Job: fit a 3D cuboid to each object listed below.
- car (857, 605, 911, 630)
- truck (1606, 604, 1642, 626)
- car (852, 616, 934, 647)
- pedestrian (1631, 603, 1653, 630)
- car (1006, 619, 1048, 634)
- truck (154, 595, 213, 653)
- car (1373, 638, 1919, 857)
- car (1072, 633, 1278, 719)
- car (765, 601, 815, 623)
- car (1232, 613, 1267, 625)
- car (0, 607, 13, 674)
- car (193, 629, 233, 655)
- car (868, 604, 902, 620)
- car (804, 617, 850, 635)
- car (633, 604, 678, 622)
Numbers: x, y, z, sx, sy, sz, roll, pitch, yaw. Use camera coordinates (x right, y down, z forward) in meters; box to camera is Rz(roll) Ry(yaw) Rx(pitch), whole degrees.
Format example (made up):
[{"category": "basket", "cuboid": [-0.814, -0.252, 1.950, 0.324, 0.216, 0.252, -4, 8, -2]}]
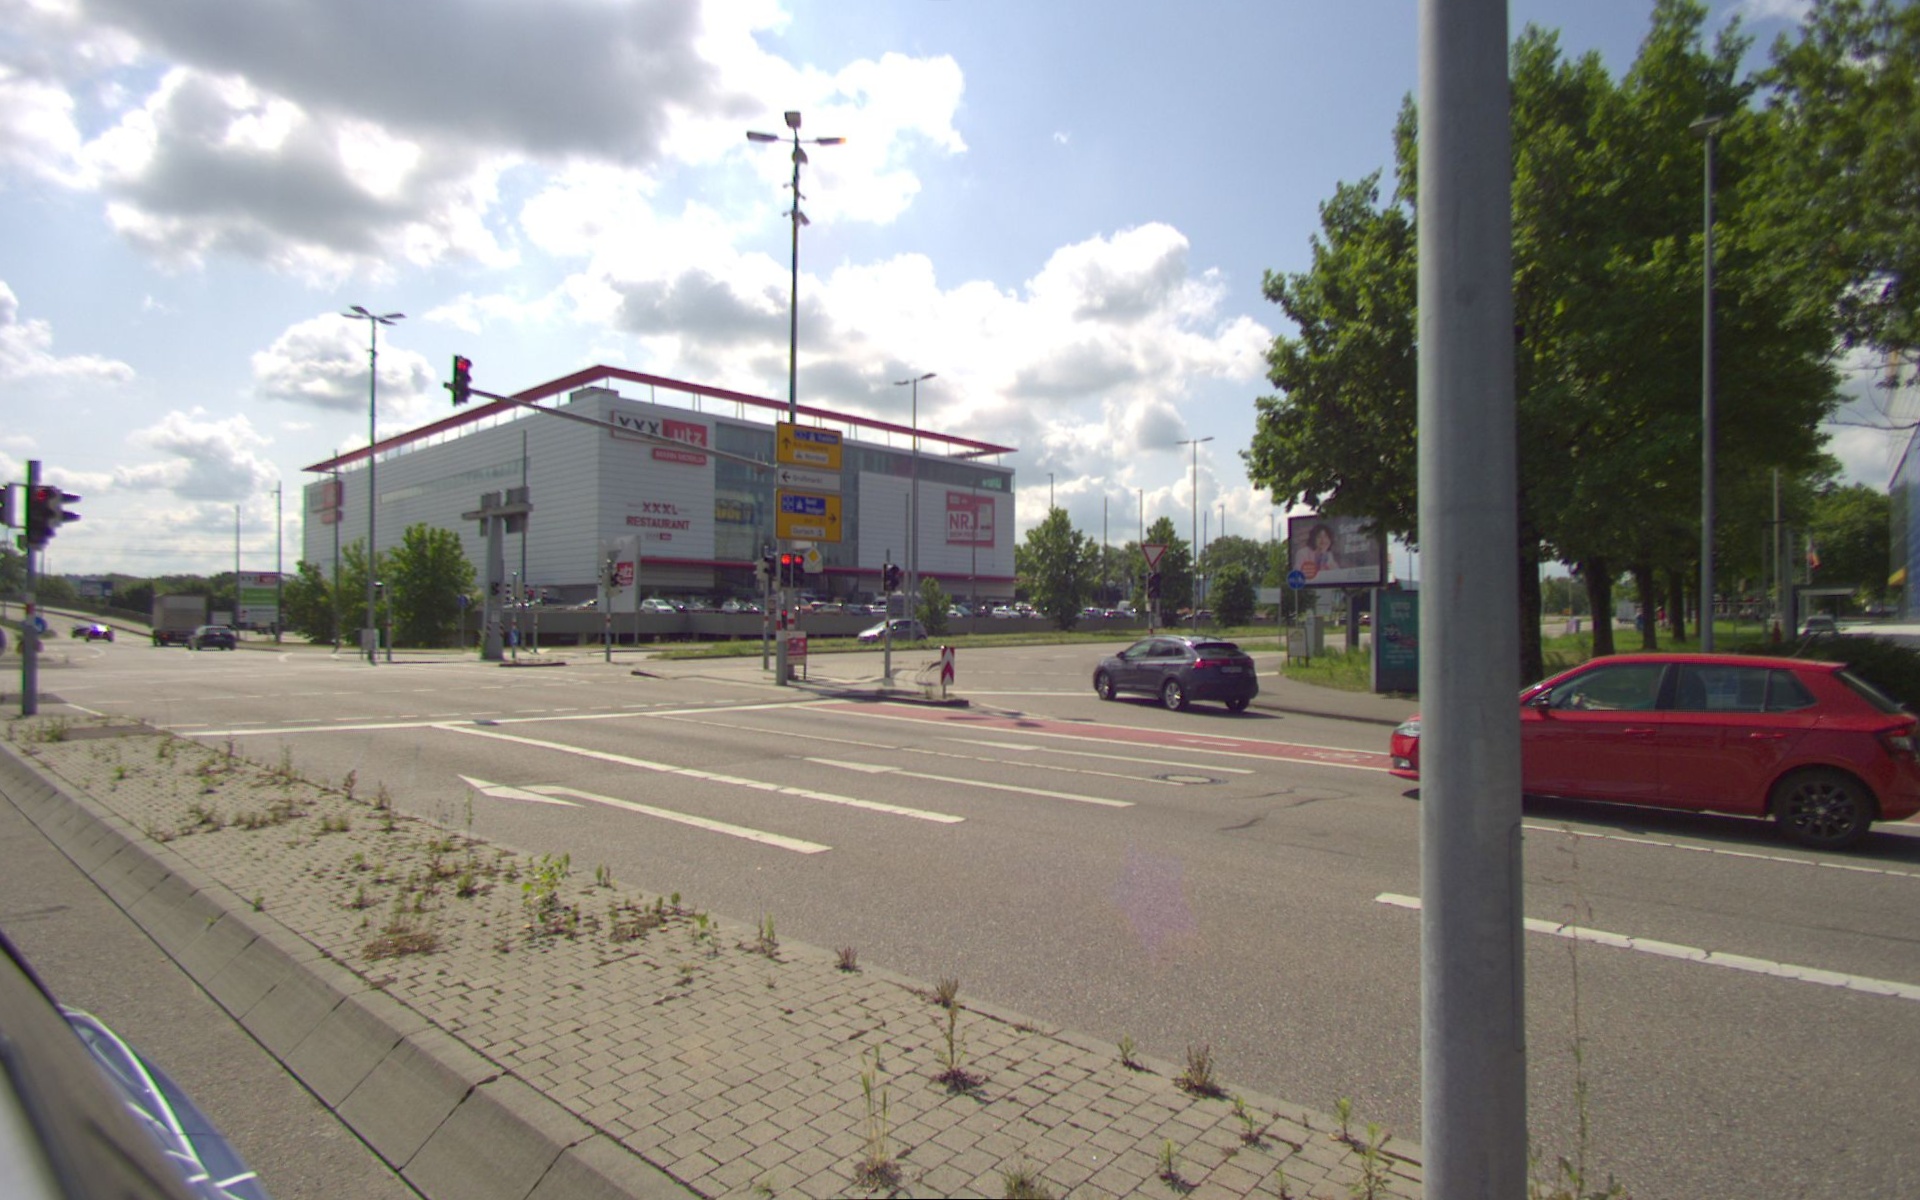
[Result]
[{"category": "car", "cuboid": [-7.490, 1.724, 99.382, 5.797, 2.300, 1.725, -3, -2, 42]}, {"category": "truck", "cuboid": [86.626, 1.959, 132.033, 2.974, 2.773, 5.703, -3, -2, 42]}, {"category": "car", "cuboid": [-3.404, 1.622, 52.040, 1.608, 1.542, 4.208, -2, -2, 44]}, {"category": "pedestrian", "cuboid": [44.477, 1.064, 65.993, 1.147, 1.741, 0.855, 0, -2, -43]}, {"category": "car", "cuboid": [7.454, 2.997, 112.765, 4.424, 1.618, 1.926, -3, -2, 44]}, {"category": "truck", "cuboid": [-58.201, 1.881, 75.738, 3.172, 4.058, 9.085, 0, -2, -40]}, {"category": "car", "cuboid": [6.023, 1.131, 8.918, 4.123, 1.494, 1.668, -1, -4, 41]}, {"category": "car", "cuboid": [4.384, 1.505, 21.459, 1.864, 1.567, 4.602, 1, -1, -26]}, {"category": "car", "cuboid": [-15.203, 1.104, 90.618, 4.174, 1.763, 1.896, -3, -2, 31]}, {"category": "car", "cuboid": [41.147, 2.683, 144.040, 4.424, 1.618, 1.926, -3, -2, 44]}, {"category": "car", "cuboid": [-23.119, 0.831, 21.721, 1.585, 1.542, 4.269, 1, -3, -1]}, {"category": "car", "cuboid": [-45.447, 2.541, 61.639, 1.750, 1.489, 4.691, 0, -2, -34]}, {"category": "car", "cuboid": [-8.861, 1.424, 119.609, 4.001, 1.763, 1.889, -3, -2, 44]}, {"category": "car", "cuboid": [-12.434, 2.396, 94.336, 4.424, 1.618, 1.926, -3, -2, 44]}, {"category": "car", "cuboid": [-28.008, 1.196, 92.940, 4.422, 1.482, 1.928, -2, -2, 42]}]
